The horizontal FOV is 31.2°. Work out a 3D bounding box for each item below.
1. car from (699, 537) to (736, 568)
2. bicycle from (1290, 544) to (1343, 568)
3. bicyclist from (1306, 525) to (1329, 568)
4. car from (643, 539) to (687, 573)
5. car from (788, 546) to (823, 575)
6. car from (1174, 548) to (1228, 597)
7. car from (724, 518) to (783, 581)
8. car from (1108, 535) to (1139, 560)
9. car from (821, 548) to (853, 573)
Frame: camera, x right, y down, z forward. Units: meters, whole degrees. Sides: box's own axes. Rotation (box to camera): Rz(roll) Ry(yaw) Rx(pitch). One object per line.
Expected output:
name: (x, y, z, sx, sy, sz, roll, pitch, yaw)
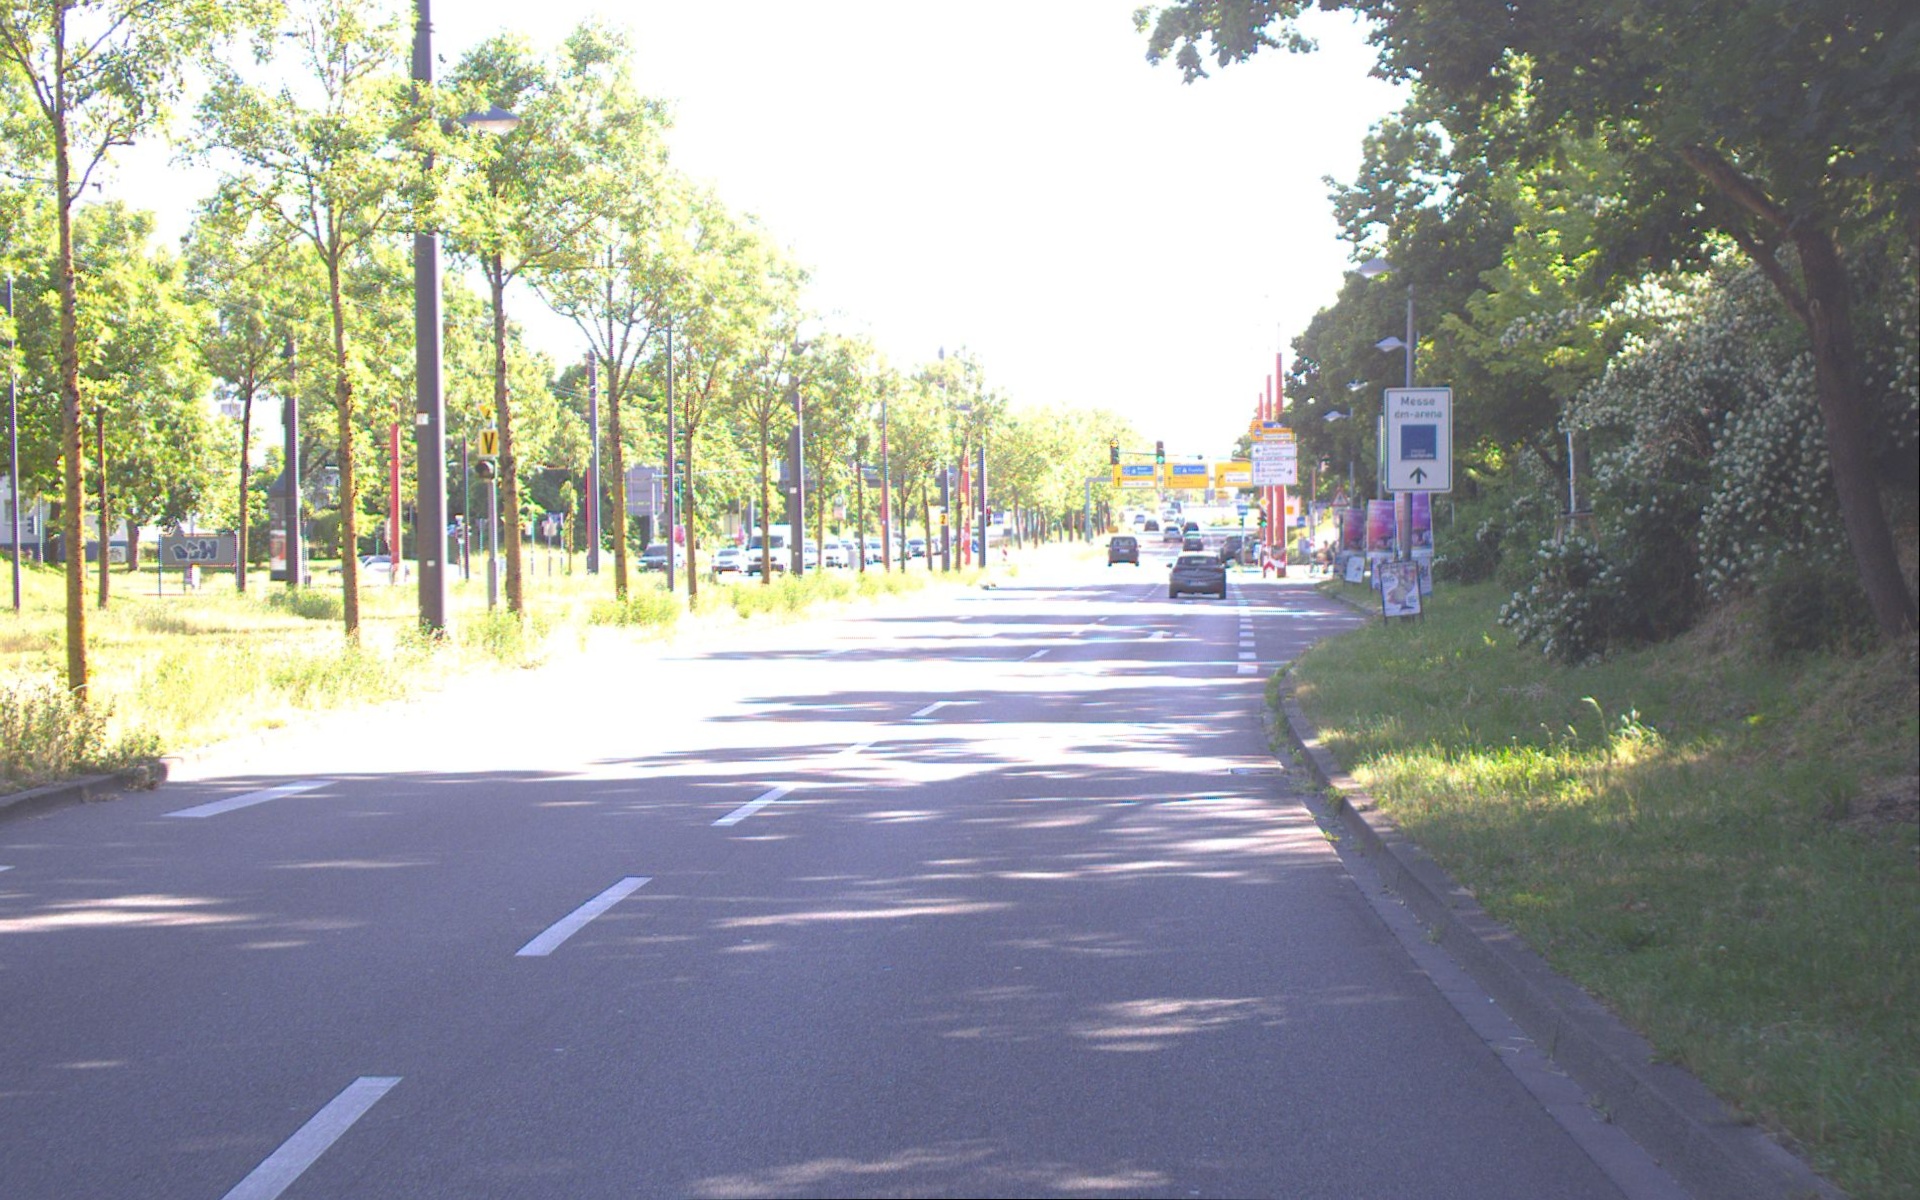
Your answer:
car: (-13.575, -2.671, 192.680, 1.631, 1.675, 4.192, 0, 1, 3)
bicycle: (16.324, -2.012, 157.514, 2.415, 1.105, 0.812, 0, 1, 4)
bicyclist: (16.391, -2.455, 157.502, 1.009, 2.000, 0.812, 0, 1, 4)
car: (-14.556, -2.195, 169.870, 1.631, 1.675, 4.192, 0, 1, 3)
car: (-9.010, -2.335, 200.899, 1.631, 1.675, 4.192, 0, 1, 3)
car: (7.606, -0.870, 108.121, 1.634, 1.493, 4.234, 0, 1, 5)
car: (-10.860, -2.642, 181.035, 2.465, 3.228, 6.134, 0, 0, 2)
car: (9.550, -3.070, 200.705, 1.634, 1.493, 4.234, 0, 1, 5)
car: (-7.464, -2.414, 208.969, 1.631, 1.440, 4.192, 0, 1, 3)
